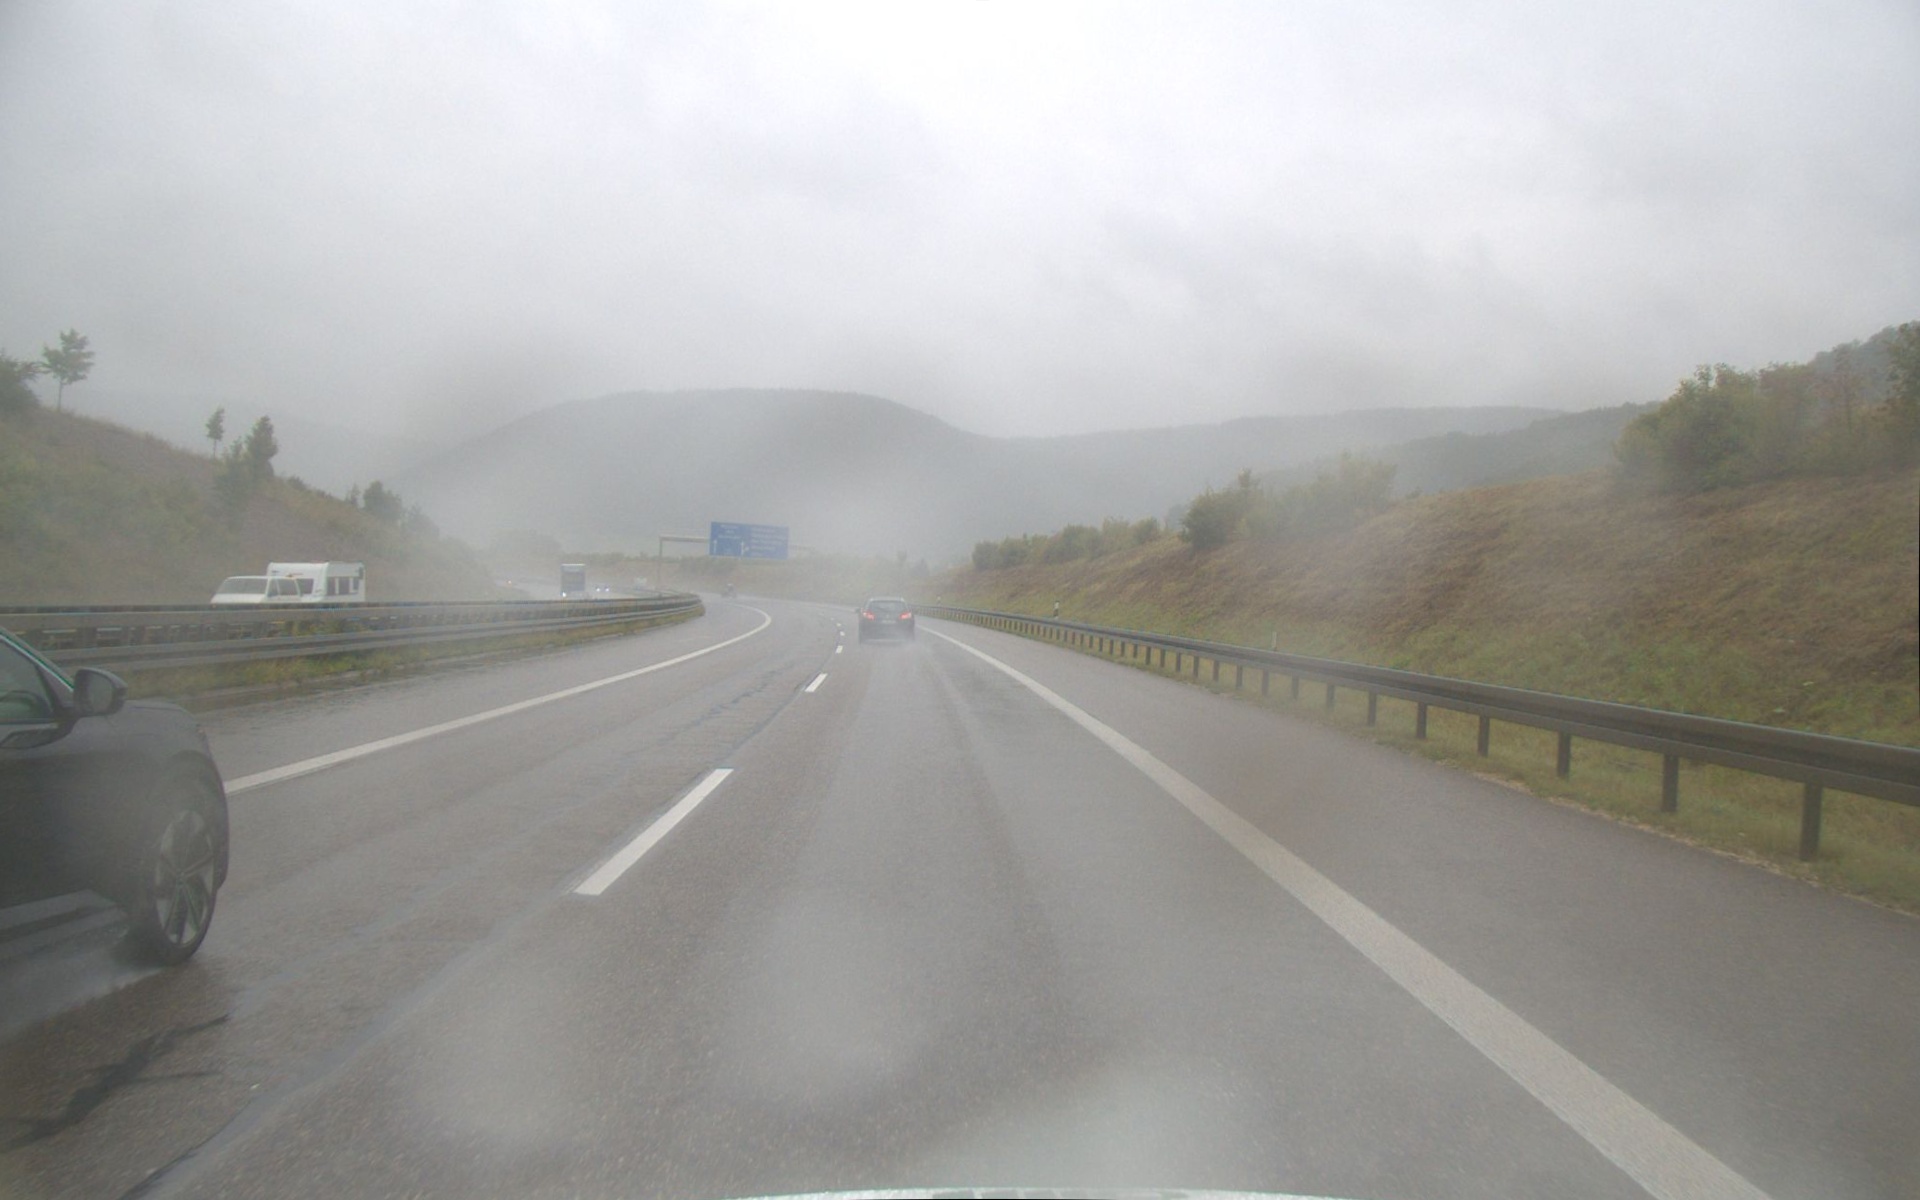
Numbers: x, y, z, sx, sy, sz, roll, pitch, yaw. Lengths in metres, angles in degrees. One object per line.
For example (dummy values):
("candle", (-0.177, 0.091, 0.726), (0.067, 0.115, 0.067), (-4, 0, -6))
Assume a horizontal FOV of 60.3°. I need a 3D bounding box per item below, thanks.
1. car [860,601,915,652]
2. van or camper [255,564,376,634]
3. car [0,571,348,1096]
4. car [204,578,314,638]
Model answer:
("car", (-2.287, 0.811, 52.671), (1.645, 1.498, 3.813), (1, 0, -2))
("van or camper", (-25.415, -0.053, 65.557), (2.297, 2.609, 7.201), (1, 0, -3))
("car", (-3.988, 0.660, 5.201), (2.357, 1.542, 4.783), (1, 0, -1))
("car", (-25.053, 0.258, 59.346), (1.954, 2.050, 5.175), (1, 0, -3))
